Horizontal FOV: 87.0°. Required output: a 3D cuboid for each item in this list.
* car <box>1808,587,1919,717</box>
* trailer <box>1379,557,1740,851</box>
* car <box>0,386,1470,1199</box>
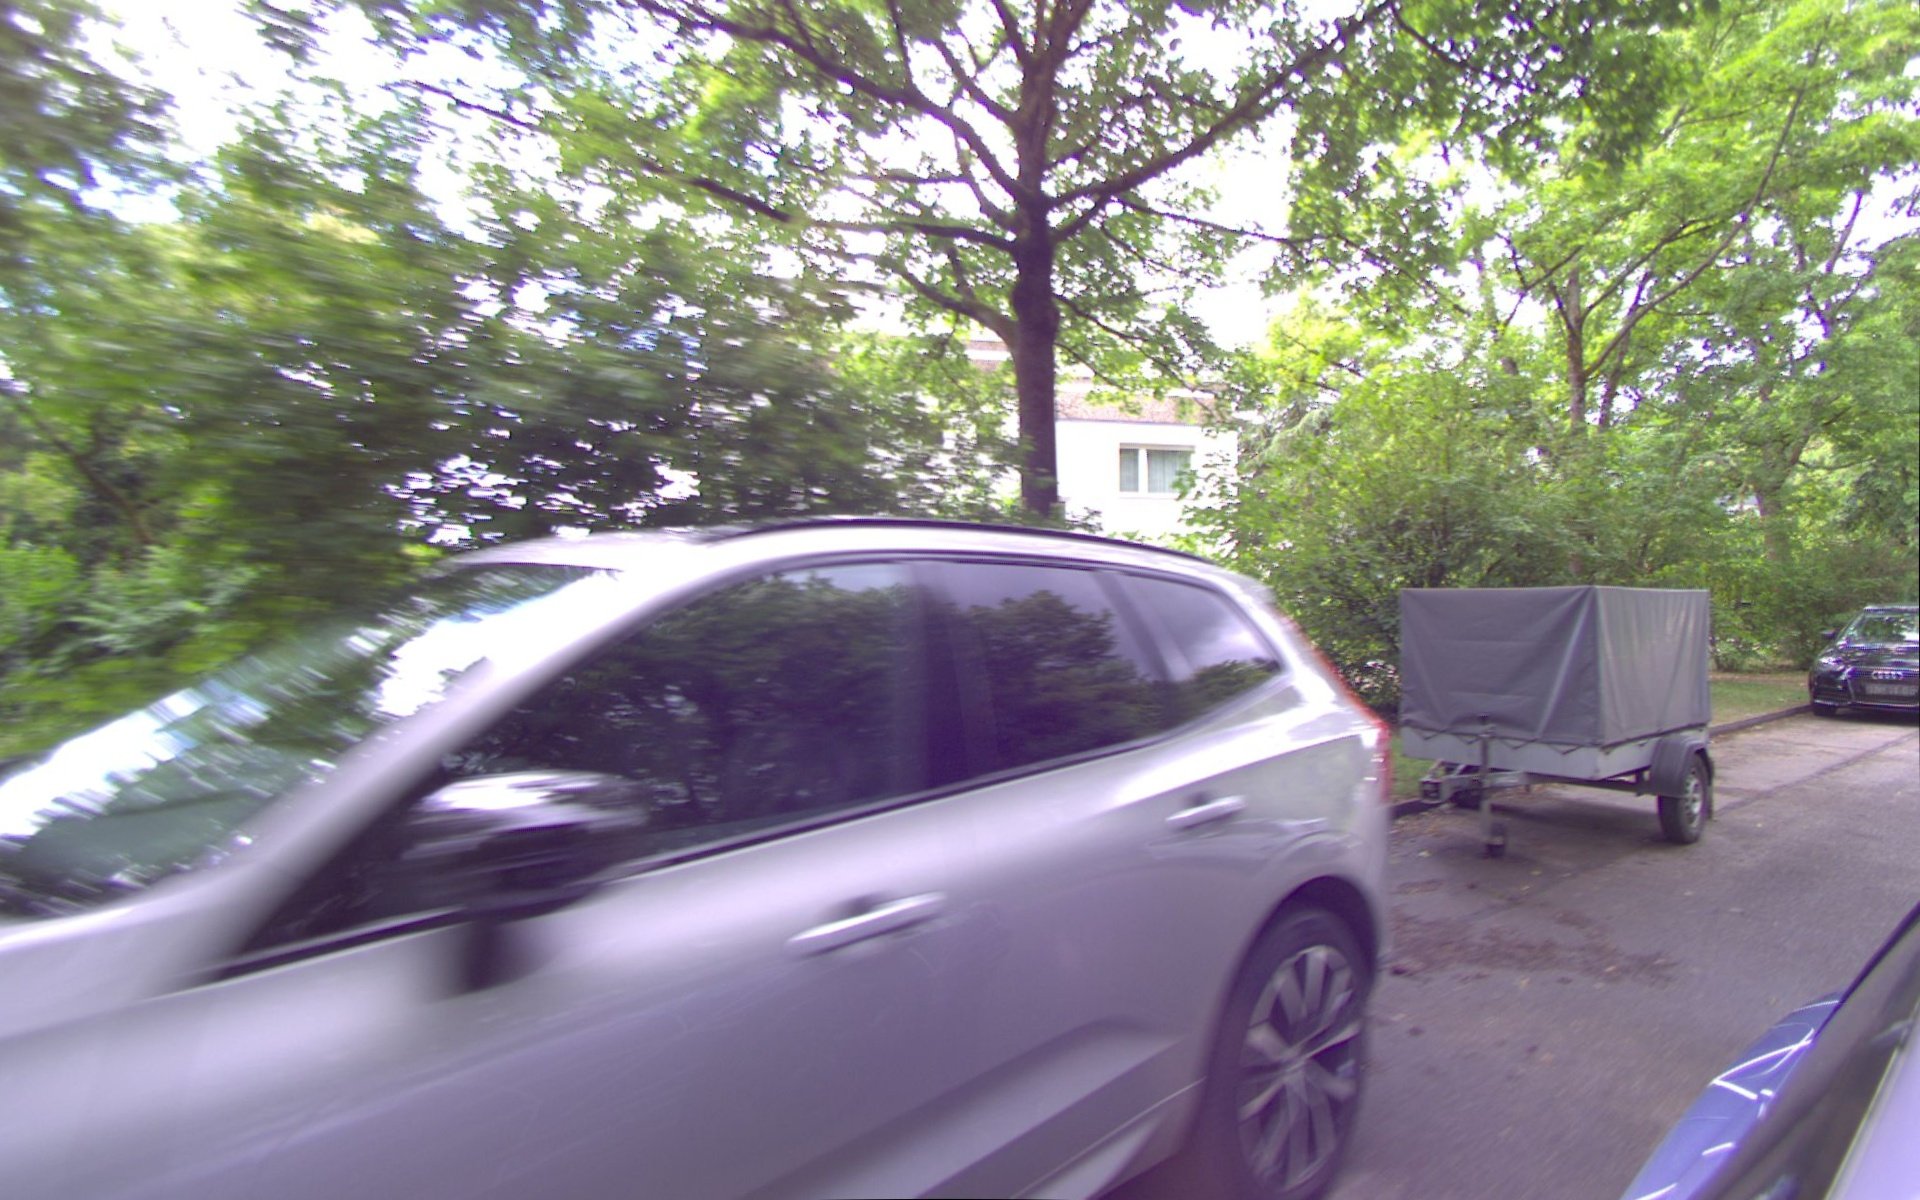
[{"bbox_3d":[12.401,0.575,12.881,3.846,1.471,1.724,-1,0,-38],"label":"car"},{"bbox_3d":[4.058,0.560,6.779,2.415,1.605,1.281,0,0,-38],"label":"trailer"},{"bbox_3d":[-0.660,0.624,2.272,4.427,1.691,1.794,-2,1,-43],"label":"car"}]
